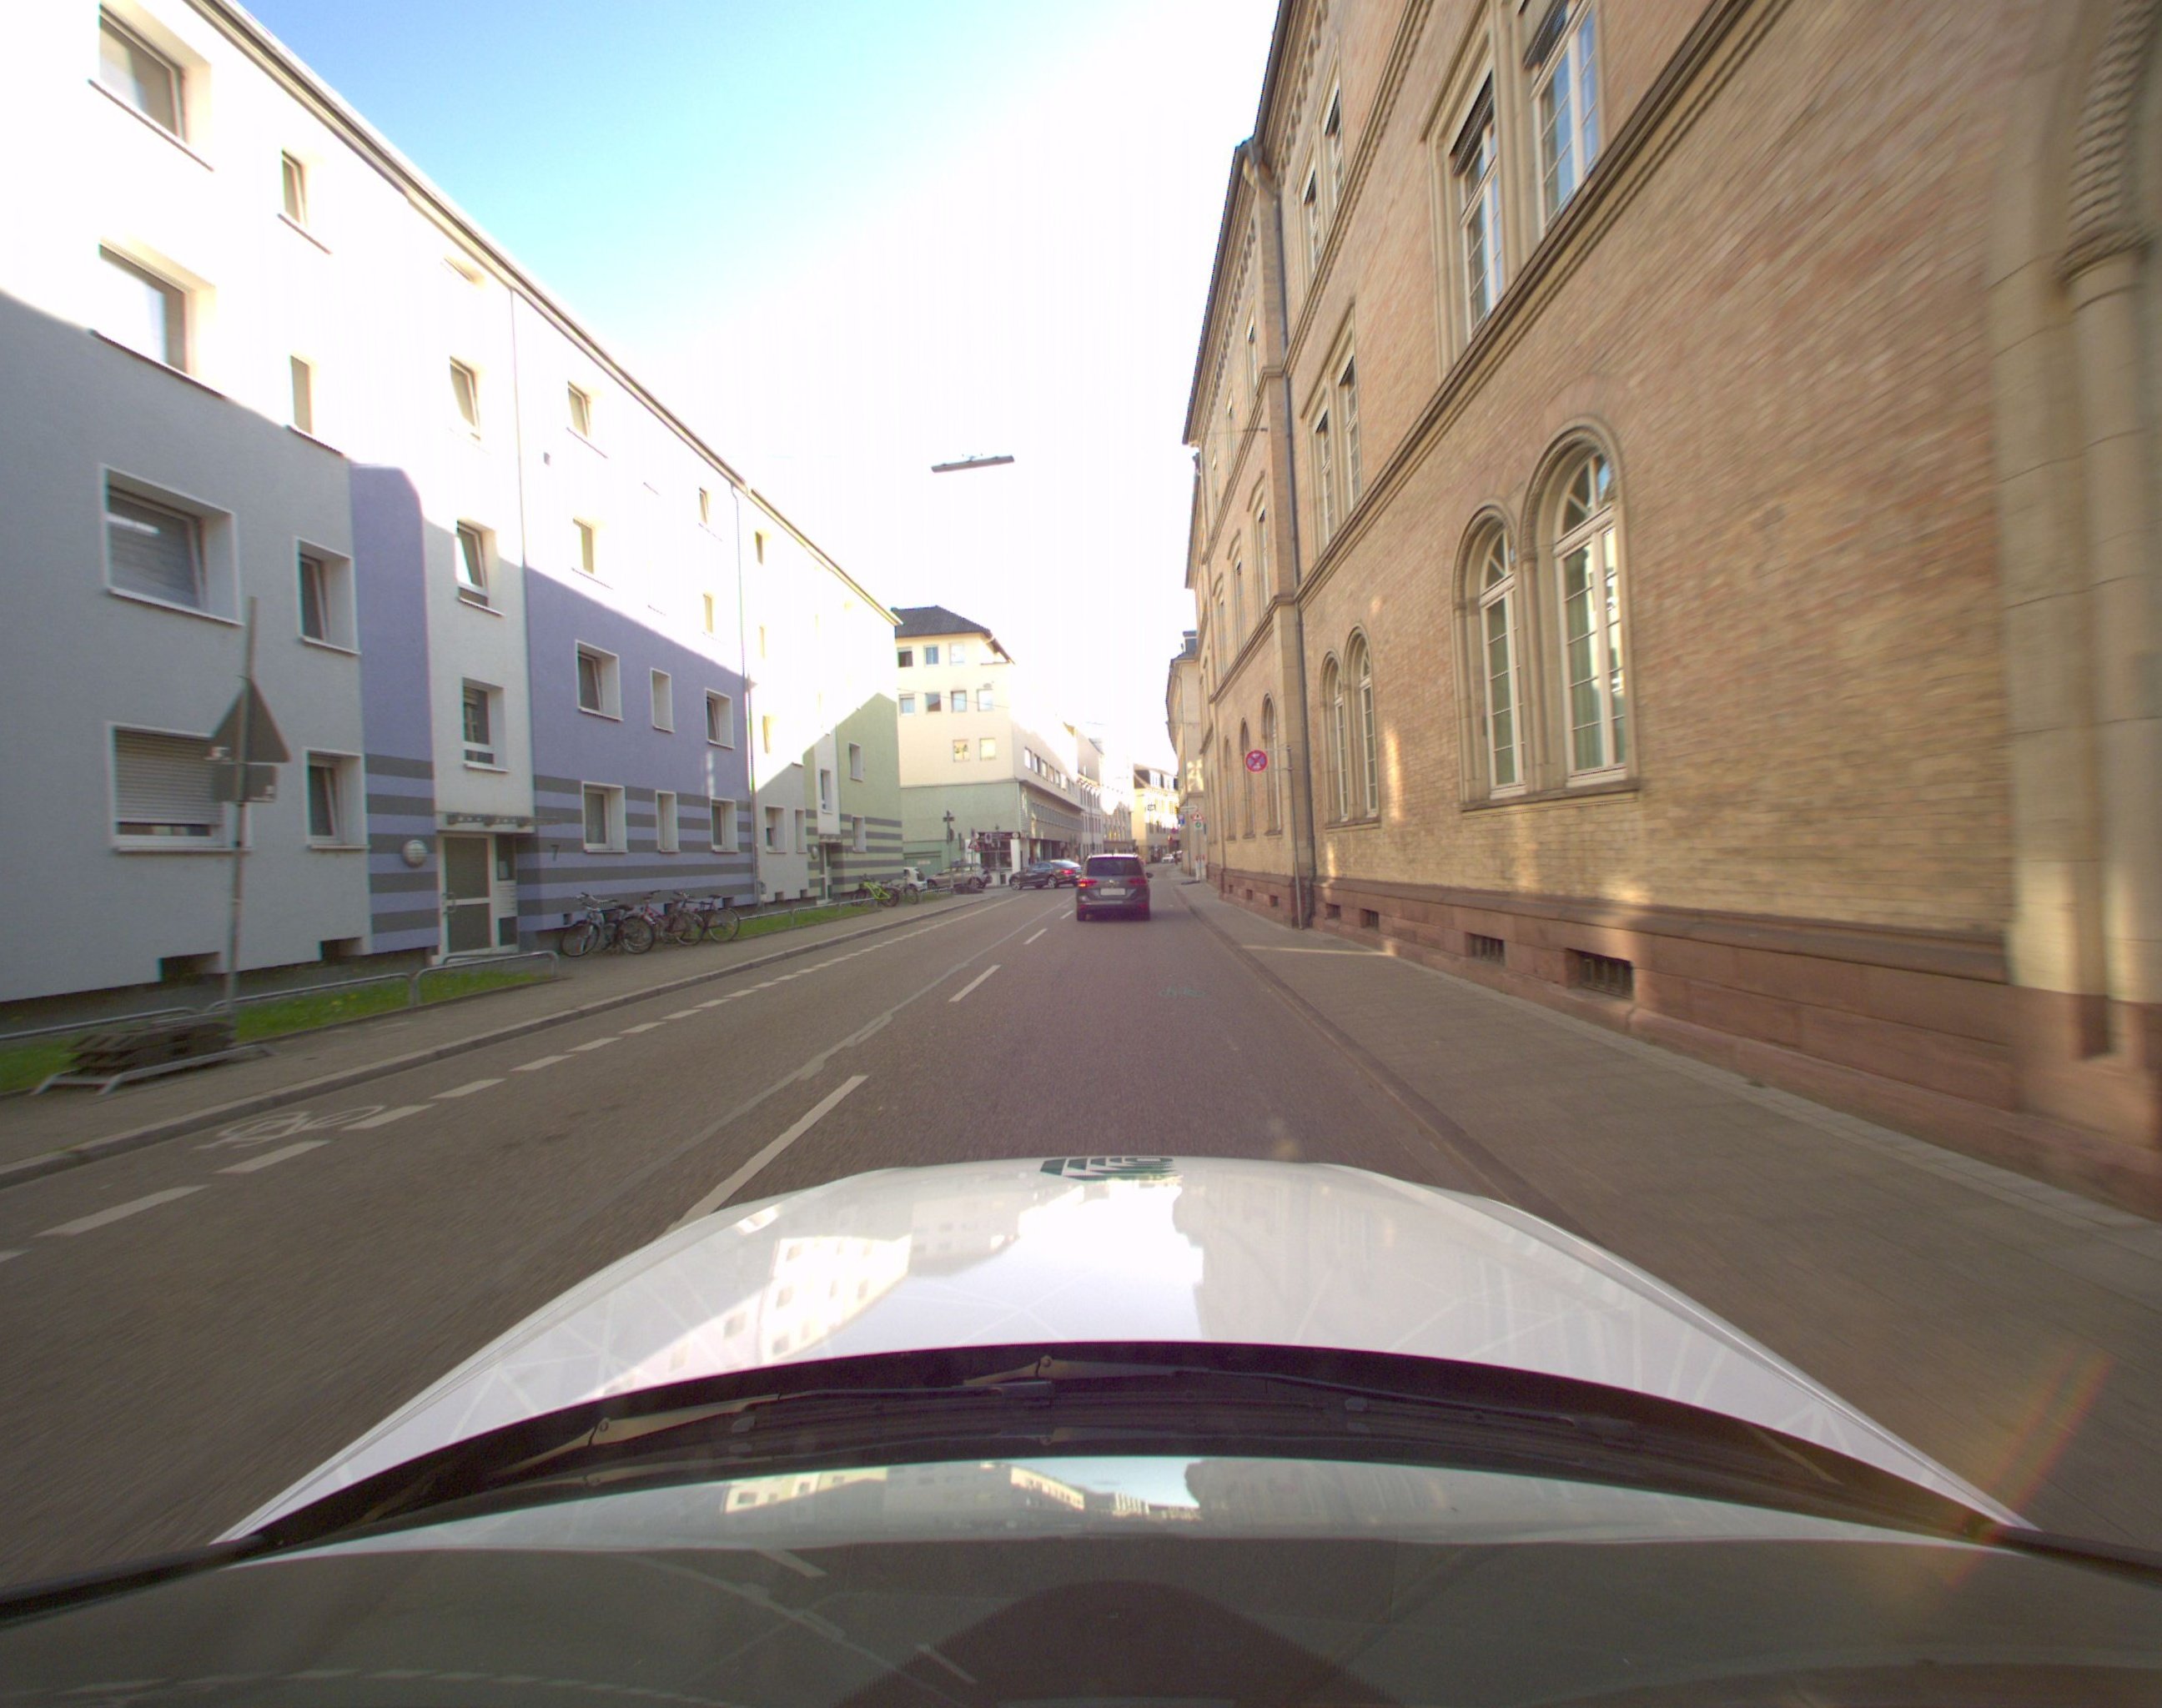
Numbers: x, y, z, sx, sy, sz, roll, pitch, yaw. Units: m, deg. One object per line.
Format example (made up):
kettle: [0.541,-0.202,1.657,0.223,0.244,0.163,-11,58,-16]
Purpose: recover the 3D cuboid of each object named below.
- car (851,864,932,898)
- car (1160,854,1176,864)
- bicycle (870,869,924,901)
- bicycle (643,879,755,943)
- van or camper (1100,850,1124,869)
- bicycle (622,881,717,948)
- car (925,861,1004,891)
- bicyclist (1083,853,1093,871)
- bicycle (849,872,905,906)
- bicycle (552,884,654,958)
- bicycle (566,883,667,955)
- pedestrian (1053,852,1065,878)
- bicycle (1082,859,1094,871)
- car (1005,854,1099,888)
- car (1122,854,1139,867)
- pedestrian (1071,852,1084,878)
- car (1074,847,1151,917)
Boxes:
car: [-9.501,1.357,41.053,3.483,1.443,1.816,-3,0,5]
car: [14.553,0.835,135.943,1.720,1.468,4.019,-2,0,18]
bicycle: [-6.941,1.175,30.755,1.926,1.179,0.612,0,-1,-5]
bicycle: [-7.985,1.185,17.059,2.001,1.231,0.623,-2,0,1]
van or camper: [3.451,0.617,90.062,1.981,2.013,4.495,-2,0,10]
bicycle: [-8.244,1.200,16.350,1.633,1.241,0.467,-2,0,1]
car: [-6.655,1.239,46.767,4.078,1.443,1.951,-3,0,5]
bicyclist: [0.647,0.712,73.249,0.827,1.561,0.760,-2,0,3]
bicycle: [-7.317,1.243,29.302,1.930,1.179,0.611,0,-1,-12]
bicycle: [-8.616,1.205,14.694,1.574,1.241,0.384,-2,0,1]
bicycle: [-8.600,1.194,15.111,1.579,1.241,0.449,-2,0,1]
pedestrian: [-1.643,0.810,60.325,0.550,1.829,0.735,-3,-1,27]
bicycle: [0.651,0.972,73.191,0.827,1.054,2.552,-2,0,4]
car: [-1.522,0.872,41.410,4.570,1.541,2.012,-3,0,42]
car: [6.442,0.828,106.106,1.854,1.468,3.843,-2,0,9]
pedestrian: [-0.243,0.762,57.940,0.550,1.829,0.735,-3,-1,27]
car: [0.837,0.656,20.754,1.754,1.607,4.003,0,0,3]
